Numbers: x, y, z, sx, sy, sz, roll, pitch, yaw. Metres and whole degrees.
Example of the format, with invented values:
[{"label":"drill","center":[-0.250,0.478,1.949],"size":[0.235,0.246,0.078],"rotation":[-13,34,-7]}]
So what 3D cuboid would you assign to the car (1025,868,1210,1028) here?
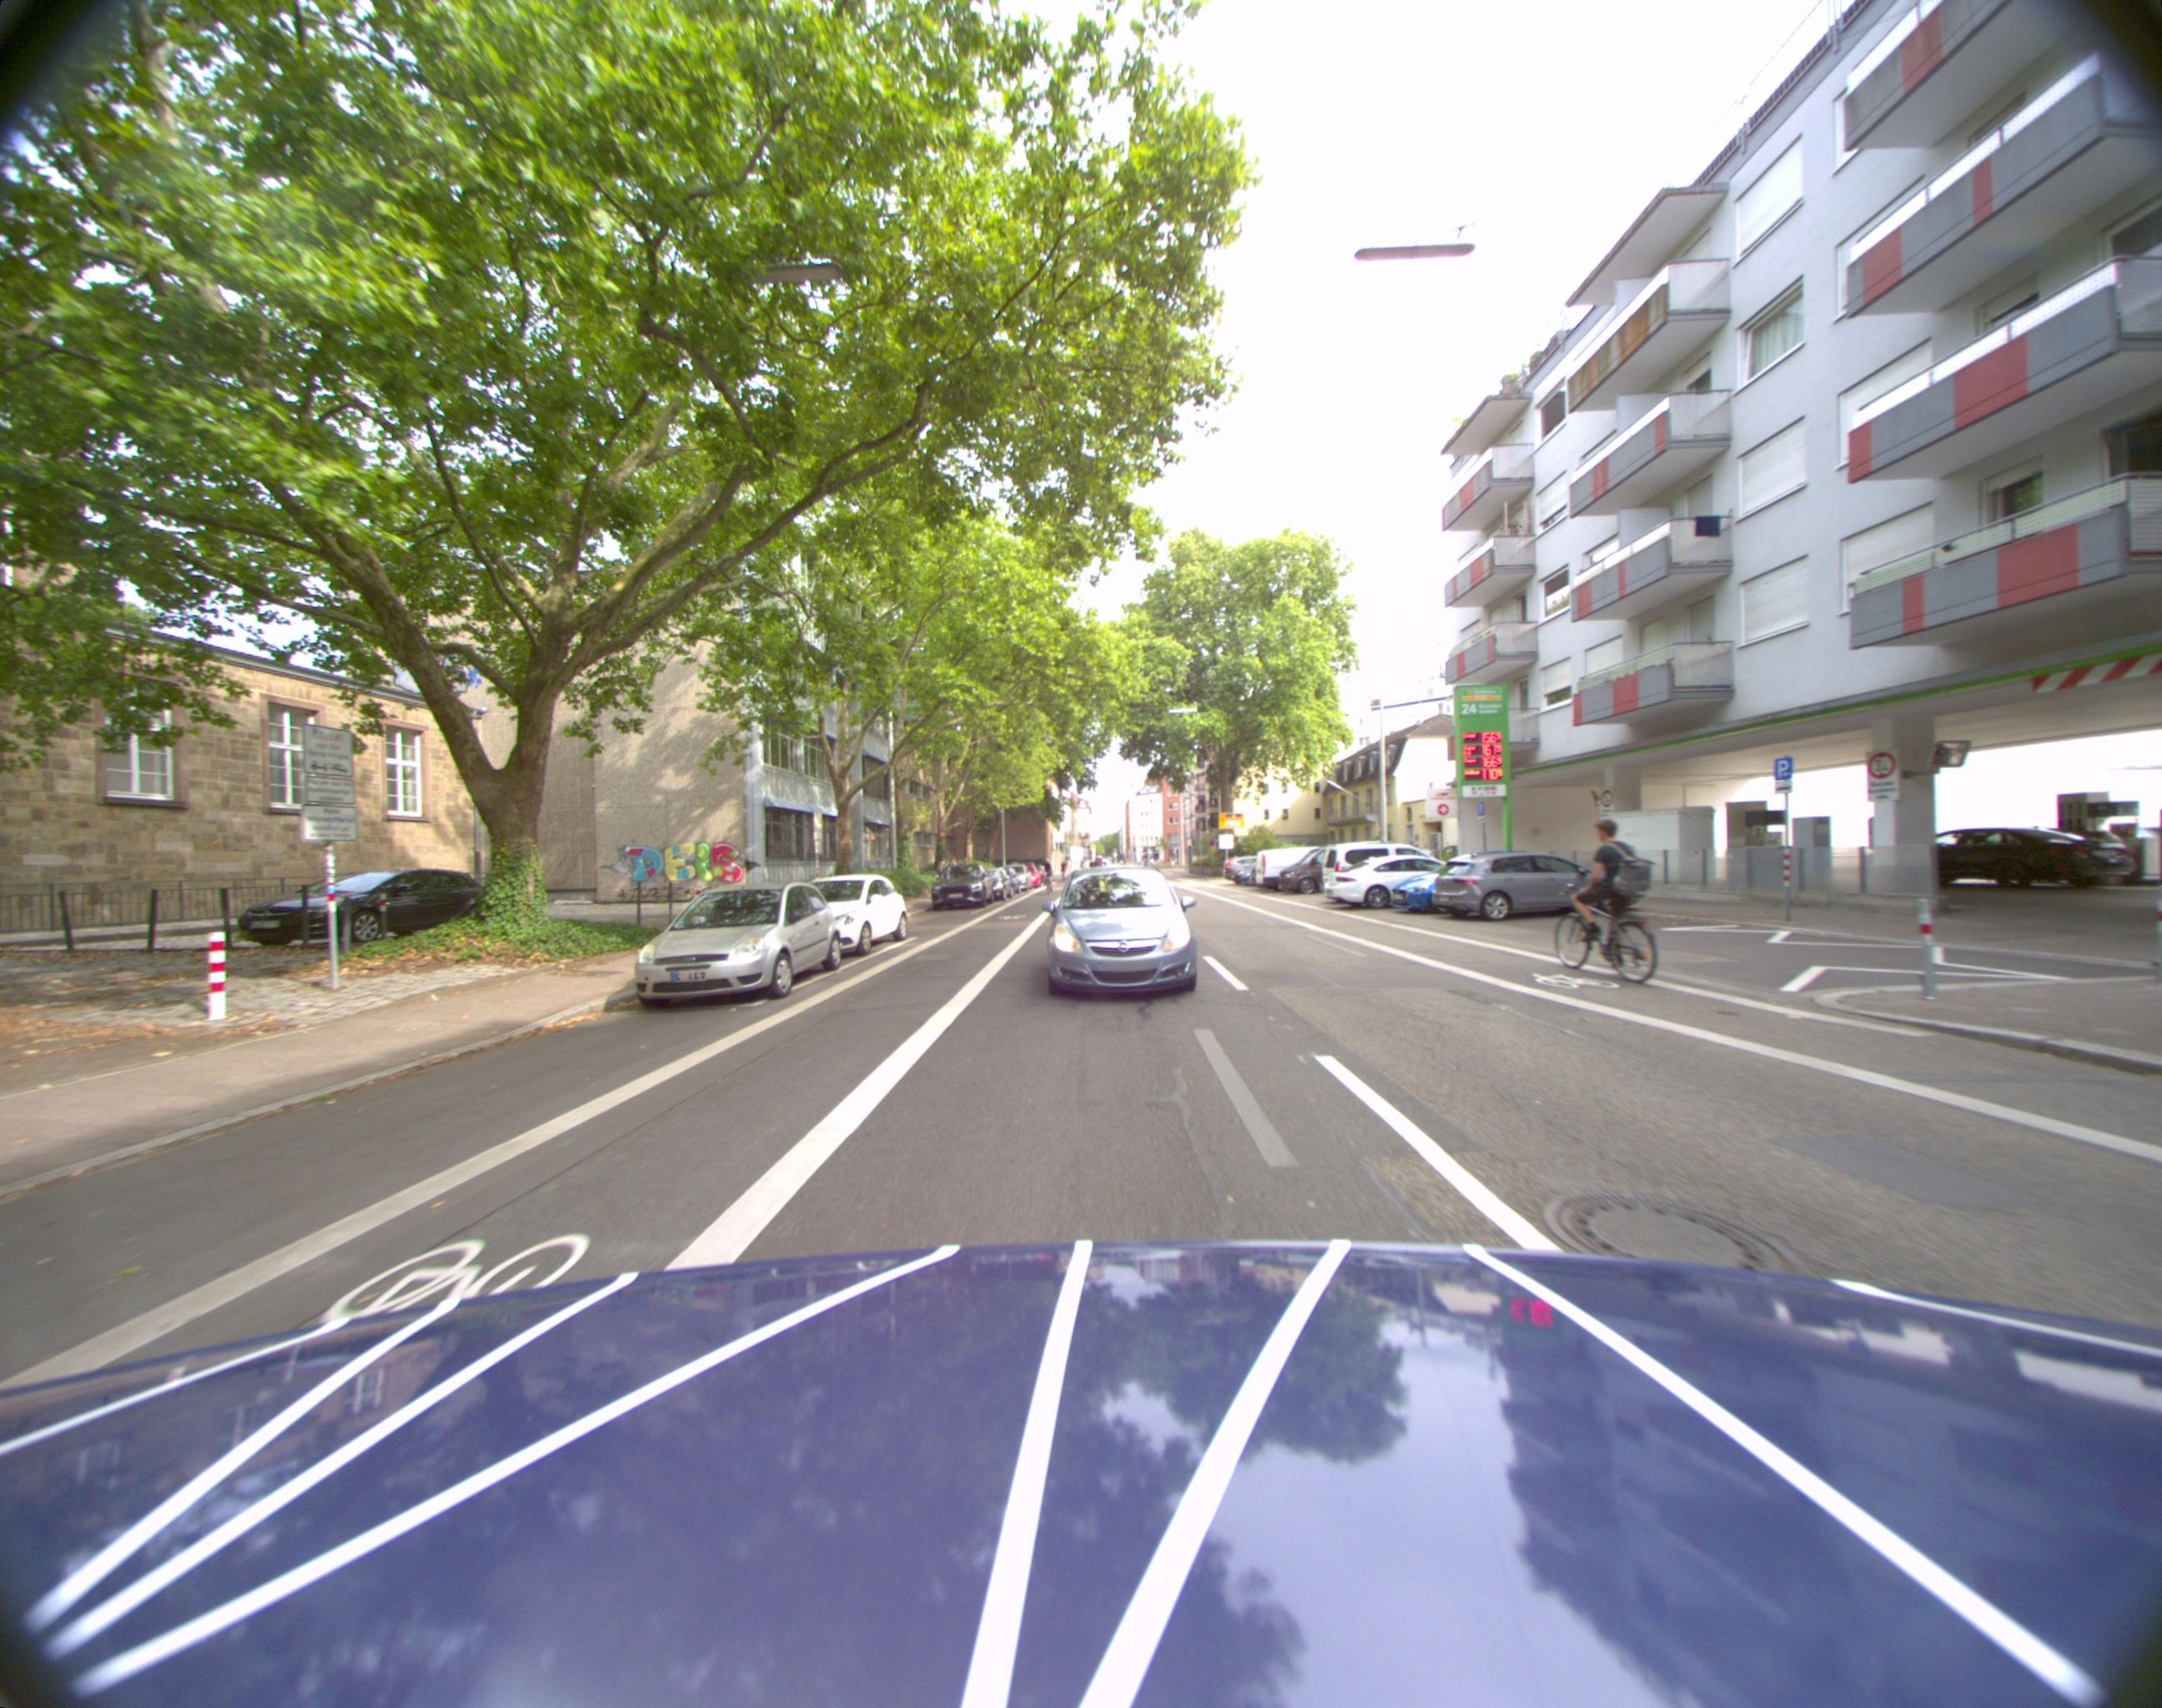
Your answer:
[{"label":"car","center":[0.403,0.937,9.388],"size":[1.716,1.412,4.253],"rotation":[-2,0,1]}]

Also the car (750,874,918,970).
[{"label":"car","center":[-4.676,1.224,15.102],"size":[1.758,1.438,4.219],"rotation":[-3,0,2]}]

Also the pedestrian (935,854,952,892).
[{"label":"pedestrian","center":[-6.778,0.933,37.456],"size":[0.643,1.823,0.645],"rotation":[2,1,0]}]

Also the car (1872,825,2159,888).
[{"label":"car","center":[21.811,0.057,18.037],"size":[1.912,1.290,4.000],"rotation":[-2,0,1]}]

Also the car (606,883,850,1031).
[{"label":"car","center":[-4.542,1.222,10.466],"size":[1.647,1.438,3.881],"rotation":[-3,0,-3]}]

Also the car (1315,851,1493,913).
[{"label":"car","center":[9.218,0.790,21.962],"size":[4.281,1.442,1.874],"rotation":[-4,0,2]}]

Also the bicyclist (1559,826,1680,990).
[{"label":"bicyclist","center":[6.315,0.595,8.971],"size":[0.653,1.800,1.045],"rotation":[-2,1,2]}]

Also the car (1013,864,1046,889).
[{"label":"car","center":[-3.284,1.404,49.135],"size":[1.602,1.438,4.105],"rotation":[-3,0,2]}]

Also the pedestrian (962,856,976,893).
[{"label":"pedestrian","center":[-5.493,0.993,37.296],"size":[0.592,1.775,0.476],"rotation":[2,1,0]}]

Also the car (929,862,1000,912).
[{"label":"car","center":[-4.294,1.176,28.687],"size":[1.926,1.612,4.481],"rotation":[-3,0,0]}]

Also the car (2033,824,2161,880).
[{"label":"car","center":[30.081,-0.073,21.107],"size":[1.844,1.512,4.368],"rotation":[-2,0,1]}]

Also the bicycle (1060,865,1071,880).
[{"label":"bicycle","center":[-1.241,1.472,60.345],"size":[0.763,1.162,1.950],"rotation":[-2,0,2]}]

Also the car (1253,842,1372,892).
[{"label":"car","center":[10.207,0.582,33.821],"size":[4.627,1.848,1.950],"rotation":[-4,0,2]}]

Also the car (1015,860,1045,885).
[{"label":"car","center":[-3.652,1.307,54.867],"size":[1.651,1.654,3.797],"rotation":[-3,0,2]}]

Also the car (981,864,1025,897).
[{"label":"car","center":[-3.890,1.301,38.460],"size":[1.602,1.414,3.956],"rotation":[-3,0,2]}]

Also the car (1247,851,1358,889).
[{"label":"car","center":[10.483,0.749,36.254],"size":[4.716,1.461,1.874],"rotation":[-4,0,2]}]

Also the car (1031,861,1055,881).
[{"label":"car","center":[-3.203,1.386,64.119],"size":[1.602,1.516,3.956],"rotation":[-3,0,2]}]

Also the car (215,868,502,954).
[{"label":"car","center":[-14.153,1.062,15.307],"size":[1.673,1.441,4.299],"rotation":[-2,-2,0]}]

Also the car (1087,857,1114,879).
[{"label":"car","center":[1.535,1.088,59.855],"size":[2.000,1.556,4.551],"rotation":[-2,0,1]}]

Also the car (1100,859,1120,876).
[{"label":"car","center":[2.938,1.356,77.293],"size":[1.935,1.637,4.000],"rotation":[-1,0,2]}]

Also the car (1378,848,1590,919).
[{"label":"car","center":[10.161,0.727,19.423],"size":[4.311,1.442,1.911],"rotation":[-4,0,2]}]

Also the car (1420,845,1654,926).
[{"label":"car","center":[10.266,0.690,17.359],"size":[4.161,1.504,1.837],"rotation":[-4,0,2]}]

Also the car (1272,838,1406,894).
[{"label":"car","center":[10.535,0.473,31.345],"size":[4.778,1.923,1.994],"rotation":[-4,0,2]}]

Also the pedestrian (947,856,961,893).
[{"label":"pedestrian","center":[-6.214,0.983,37.147],"size":[0.502,1.775,0.527],"rotation":[2,1,0]}]

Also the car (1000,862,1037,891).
[{"label":"car","center":[-3.581,1.273,44.079],"size":[1.602,1.496,4.441],"rotation":[-3,0,2]}]

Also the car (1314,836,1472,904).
[{"label":"car","center":[9.965,0.505,24.508],"size":[4.221,1.837,1.924],"rotation":[-4,0,2]}]

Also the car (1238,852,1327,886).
[{"label":"car","center":[10.744,0.788,40.743],"size":[4.275,1.502,1.719],"rotation":[-4,0,2]}]

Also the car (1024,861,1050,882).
[{"label":"car","center":[-3.374,1.354,59.408],"size":[1.602,1.516,3.956],"rotation":[-3,0,2]}]

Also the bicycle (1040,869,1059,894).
[{"label":"bicycle","center":[-1.530,1.331,37.233],"size":[0.763,1.162,1.950],"rotation":[-2,0,2]}]

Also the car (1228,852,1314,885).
[{"label":"car","center":[10.678,0.787,42.875],"size":[4.372,1.540,1.733],"rotation":[-4,0,2]}]

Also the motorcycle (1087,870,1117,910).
[{"label":"motorcycle","center":[0.699,1.158,25.082],"size":[0.904,1.190,2.631],"rotation":[-2,0,1]}]

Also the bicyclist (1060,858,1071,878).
[{"label":"bicyclist","center":[-1.246,1.096,60.349],"size":[0.748,1.590,0.819],"rotation":[-2,0,2]}]

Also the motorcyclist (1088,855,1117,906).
[{"label":"motorcyclist","center":[0.697,0.864,25.083],"size":[0.904,1.608,0.691],"rotation":[-2,0,1]}]

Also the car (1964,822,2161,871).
[{"label":"car","center":[34.463,-0.239,26.696],"size":[1.844,1.512,4.368],"rotation":[-2,0,1]}]

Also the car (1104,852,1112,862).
[{"label":"car","center":[6.772,0.716,193.093],"size":[1.998,2.546,4.799],"rotation":[-2,0,2]}]

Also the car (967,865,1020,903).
[{"label":"car","center":[-3.845,1.300,34.030],"size":[1.643,1.424,4.574],"rotation":[-3,0,2]}]

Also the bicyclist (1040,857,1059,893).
[{"label":"bicyclist","center":[-1.537,1.001,37.234],"size":[0.764,1.698,0.917],"rotation":[-2,0,2]}]

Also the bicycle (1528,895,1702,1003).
[{"label":"bicycle","center":[6.340,1.081,9.189],"size":[0.647,1.008,2.077],"rotation":[-2,0,1]}]

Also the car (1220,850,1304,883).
[{"label":"car","center":[10.736,0.749,45.188],"size":[4.529,1.596,1.754],"rotation":[-4,0,2]}]
